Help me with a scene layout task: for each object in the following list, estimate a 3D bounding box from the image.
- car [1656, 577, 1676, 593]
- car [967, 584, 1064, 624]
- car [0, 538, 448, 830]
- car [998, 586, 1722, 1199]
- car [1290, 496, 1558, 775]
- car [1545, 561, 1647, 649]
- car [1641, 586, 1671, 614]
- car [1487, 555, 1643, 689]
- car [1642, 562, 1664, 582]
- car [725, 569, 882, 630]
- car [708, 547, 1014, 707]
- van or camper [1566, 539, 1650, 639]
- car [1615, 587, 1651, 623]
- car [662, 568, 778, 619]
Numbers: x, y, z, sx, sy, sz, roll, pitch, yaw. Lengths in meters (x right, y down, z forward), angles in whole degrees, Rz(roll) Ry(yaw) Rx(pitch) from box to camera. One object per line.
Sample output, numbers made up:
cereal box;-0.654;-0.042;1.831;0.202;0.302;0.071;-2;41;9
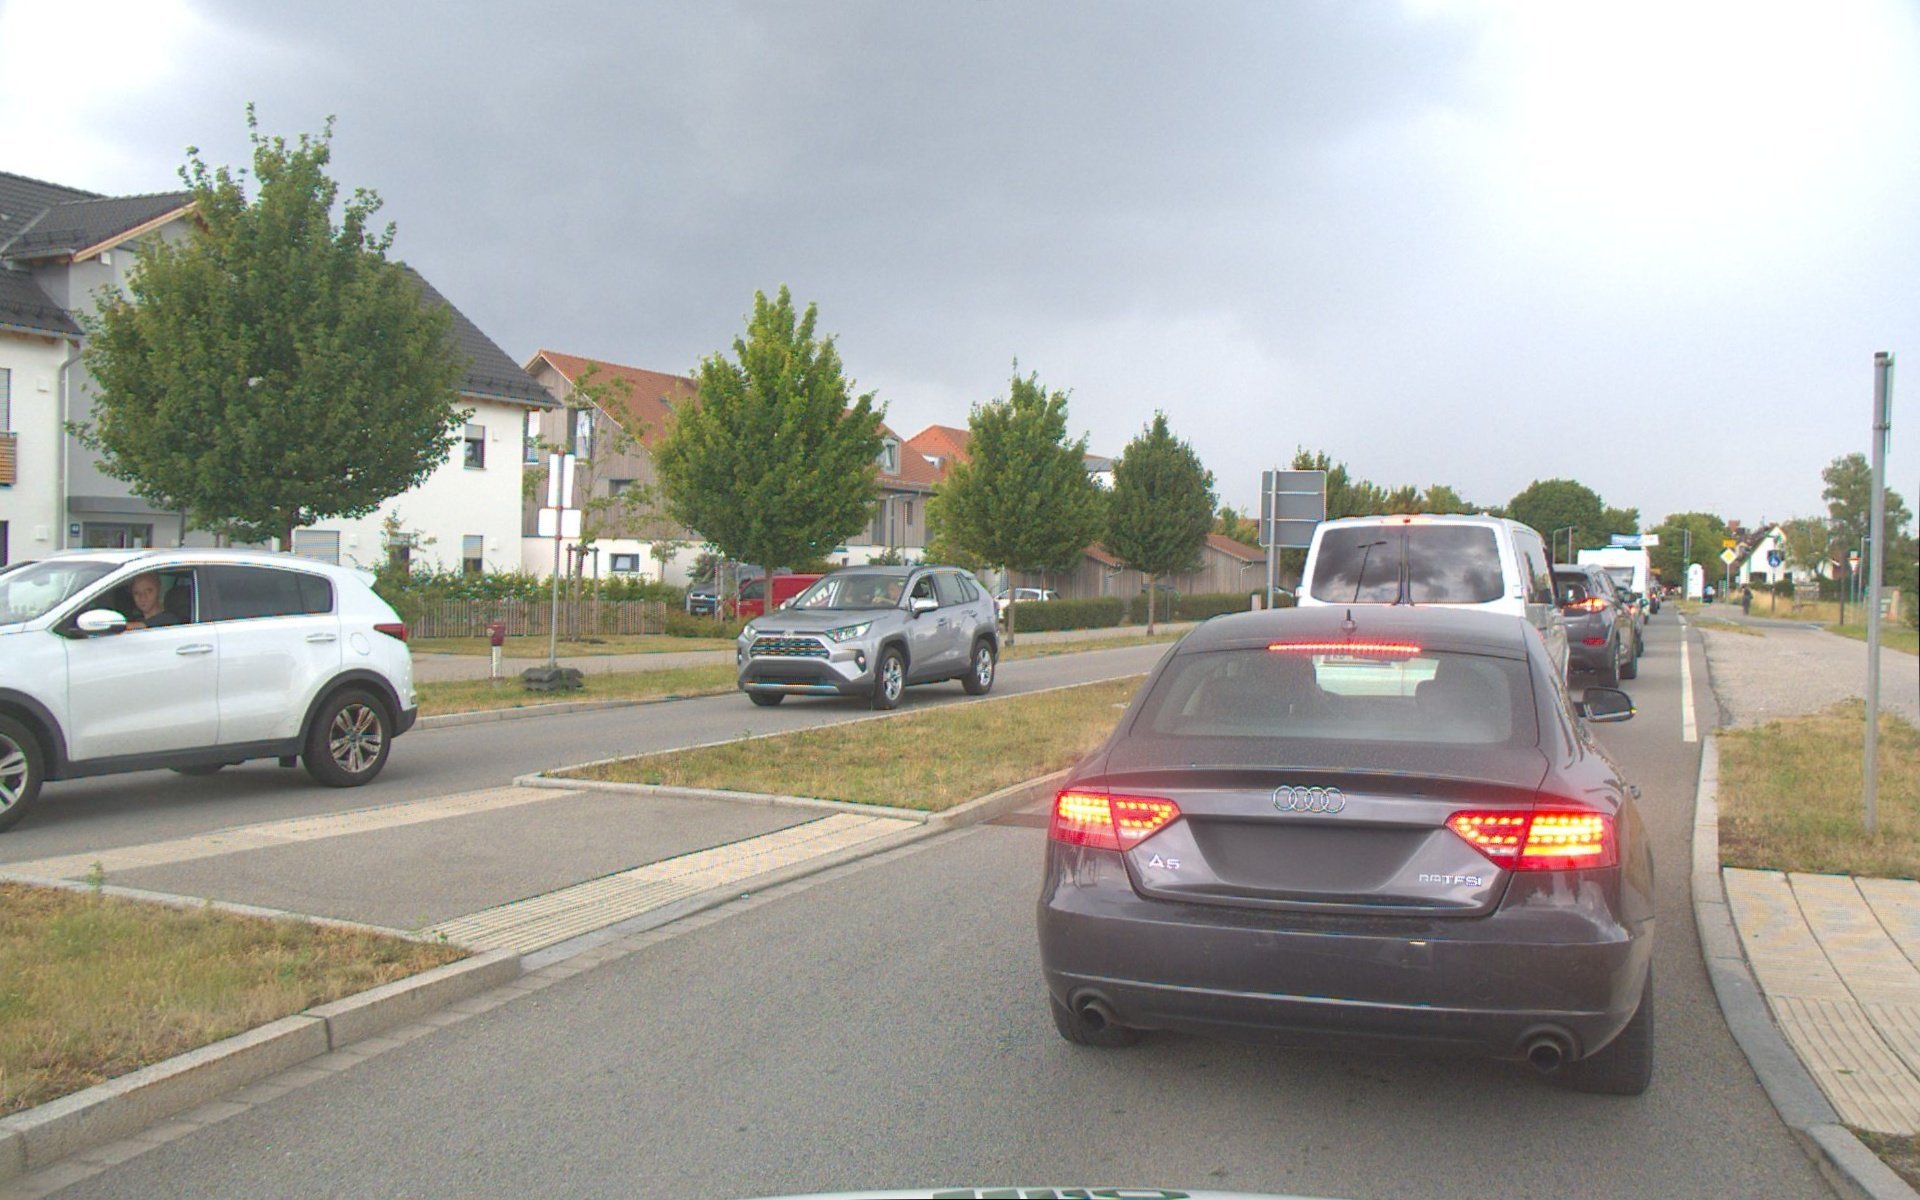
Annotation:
car;64.881;-1.364;152.025;1.581;1.433;3.614;2;1;24
car;2.286;0.163;68.003;3.653;1.507;1.687;2;1;21
car;-5.603;0.449;10.858;1.675;1.654;4.446;1;1;27
car;1.662;0.684;6.088;1.747;1.415;4.133;2;1;21
car;4.037;0.212;13.956;1.829;1.968;4.001;2;1;20
car;12.829;0.075;33.244;1.741;1.646;3.999;1;0;23
car;42.718;-0.030;101.462;1.581;1.659;3.614;2;1;24
car;8.525;0.263;23.118;1.741;1.646;3.998;2;1;24
car;82.542;-3.323;196.989;1.955;2.250;3.995;2;1;28
car;-4.865;-0.042;51.310;4.443;1.709;1.998;2;1;27
car;-1.063;0.274;20.438;1.953;1.733;4.634;0;0;22
van or camper;23.693;-0.374;60.305;2.572;3.381;6.819;2;0;23
car;35.752;0.245;87.784;1.581;1.825;3.998;2;1;24
car;-8.815;-0.243;61.131;1.956;1.802;4.458;2;1;28
